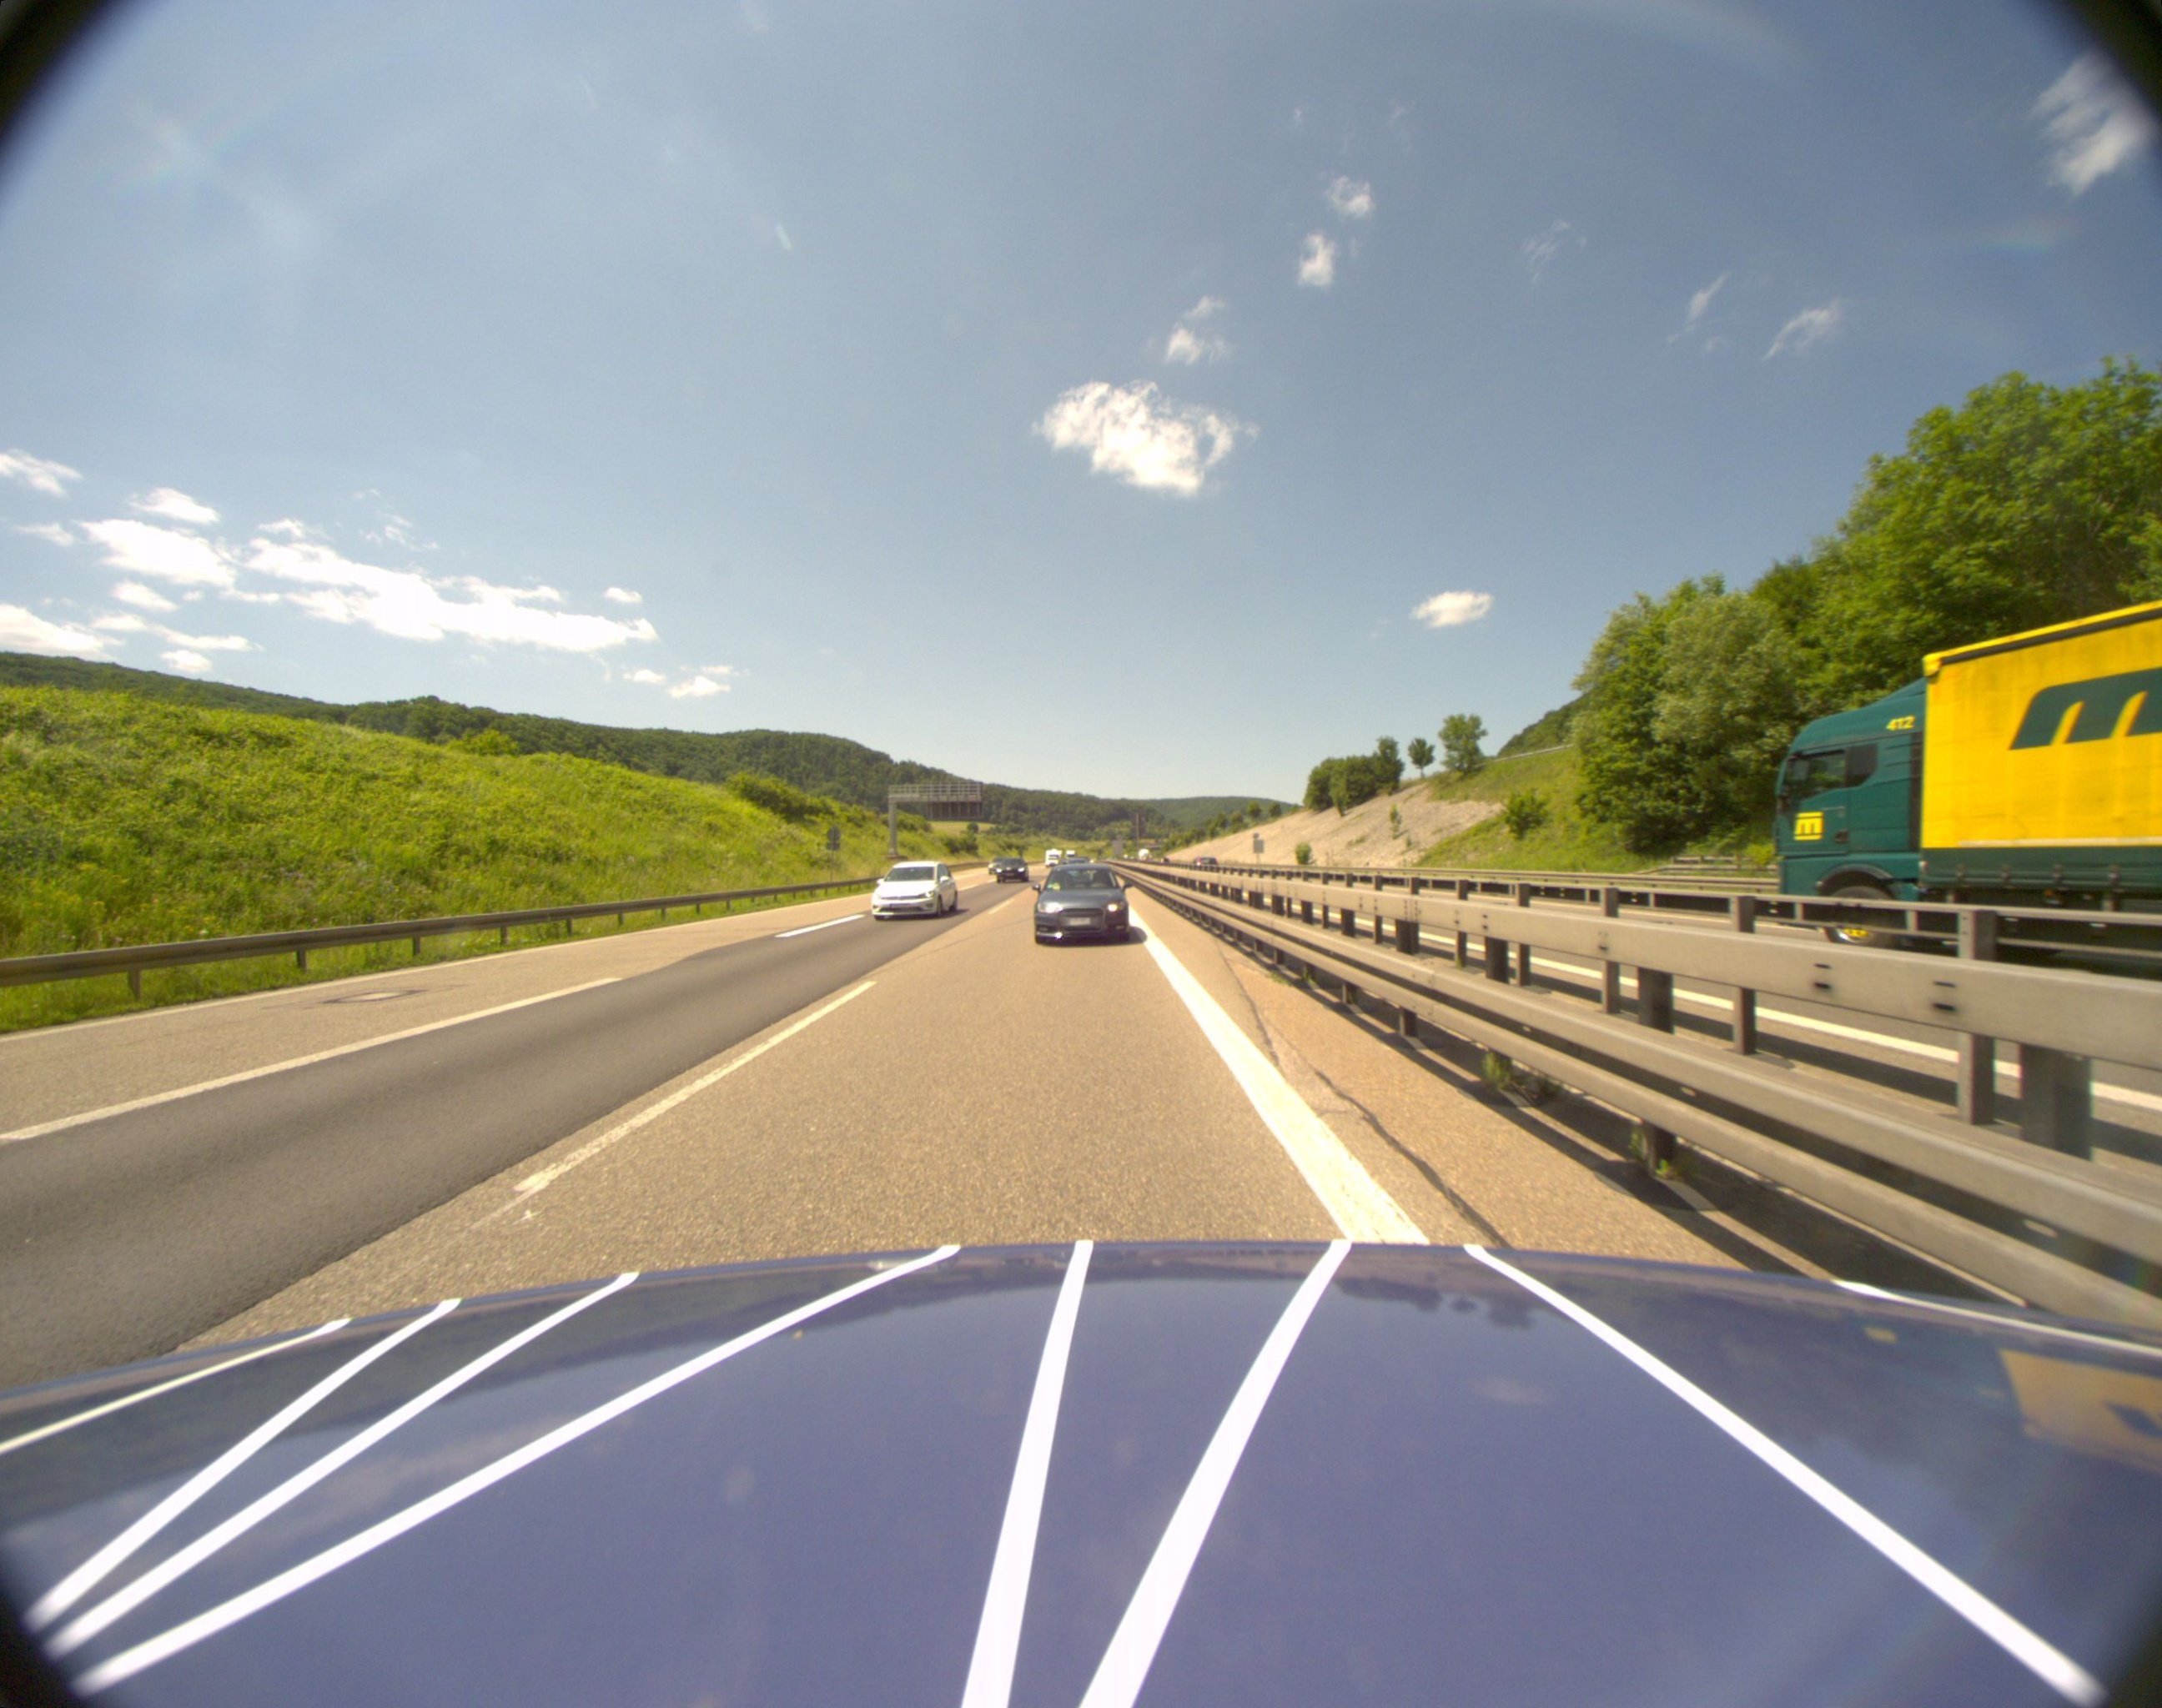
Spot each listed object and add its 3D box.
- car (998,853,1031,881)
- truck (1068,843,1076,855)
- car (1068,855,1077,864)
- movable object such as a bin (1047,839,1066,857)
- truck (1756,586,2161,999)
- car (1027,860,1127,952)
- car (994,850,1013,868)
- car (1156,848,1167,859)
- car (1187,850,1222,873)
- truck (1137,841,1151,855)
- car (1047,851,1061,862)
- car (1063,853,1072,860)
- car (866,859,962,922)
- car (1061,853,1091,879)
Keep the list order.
[{"bbox_3d":[-4.364,0.824,50.312,1.893,1.762,4.170,-1,0,-1],"label":"car"},{"bbox_3d":[-2.753,-1.484,240.251,2.336,3.623,7.005,-2,1,1],"label":"truck"},{"bbox_3d":[-2.055,1.240,187.139,1.998,2.002,4.000,-2,1,3],"label":"car"},{"bbox_3d":[-3.809,-0.928,120.396,2.481,2.616,6.708,-2,1,1],"label":"movable object such as a bin"},{"bbox_3d":[12.236,-0.655,7.393,2.834,4.123,9.614,-2,1,1],"label":"truck"},{"bbox_3d":[0.051,0.893,14.696,1.591,1.402,4.001,-2,1,4],"label":"car"},{"bbox_3d":[-7.365,0.452,72.347,1.684,1.585,4.246,-2,1,-6],"label":"car"},{"bbox_3d":[15.004,-0.157,141.660,1.998,2.002,4.001,-1,0,4],"label":"car"},{"bbox_3d":[8.485,0.488,52.362,1.672,1.426,3.999,-2,1,0],"label":"car"},{"bbox_3d":[15.236,-1.475,184.168,2.617,3.035,10.990,-2,0,2],"label":"truck"},{"bbox_3d":[-3.976,0.381,113.222,1.821,1.574,4.000,-1,0,1],"label":"car"},{"bbox_3d":[-2.858,0.484,162.215,1.711,1.542,4.000,-1,0,1],"label":"car"},{"bbox_3d":[-4.669,0.968,21.824,1.777,1.532,4.054,-2,1,0],"label":"car"},{"bbox_3d":[-0.292,0.769,51.220,1.835,1.587,4.000,-1,0,2],"label":"car"}]
